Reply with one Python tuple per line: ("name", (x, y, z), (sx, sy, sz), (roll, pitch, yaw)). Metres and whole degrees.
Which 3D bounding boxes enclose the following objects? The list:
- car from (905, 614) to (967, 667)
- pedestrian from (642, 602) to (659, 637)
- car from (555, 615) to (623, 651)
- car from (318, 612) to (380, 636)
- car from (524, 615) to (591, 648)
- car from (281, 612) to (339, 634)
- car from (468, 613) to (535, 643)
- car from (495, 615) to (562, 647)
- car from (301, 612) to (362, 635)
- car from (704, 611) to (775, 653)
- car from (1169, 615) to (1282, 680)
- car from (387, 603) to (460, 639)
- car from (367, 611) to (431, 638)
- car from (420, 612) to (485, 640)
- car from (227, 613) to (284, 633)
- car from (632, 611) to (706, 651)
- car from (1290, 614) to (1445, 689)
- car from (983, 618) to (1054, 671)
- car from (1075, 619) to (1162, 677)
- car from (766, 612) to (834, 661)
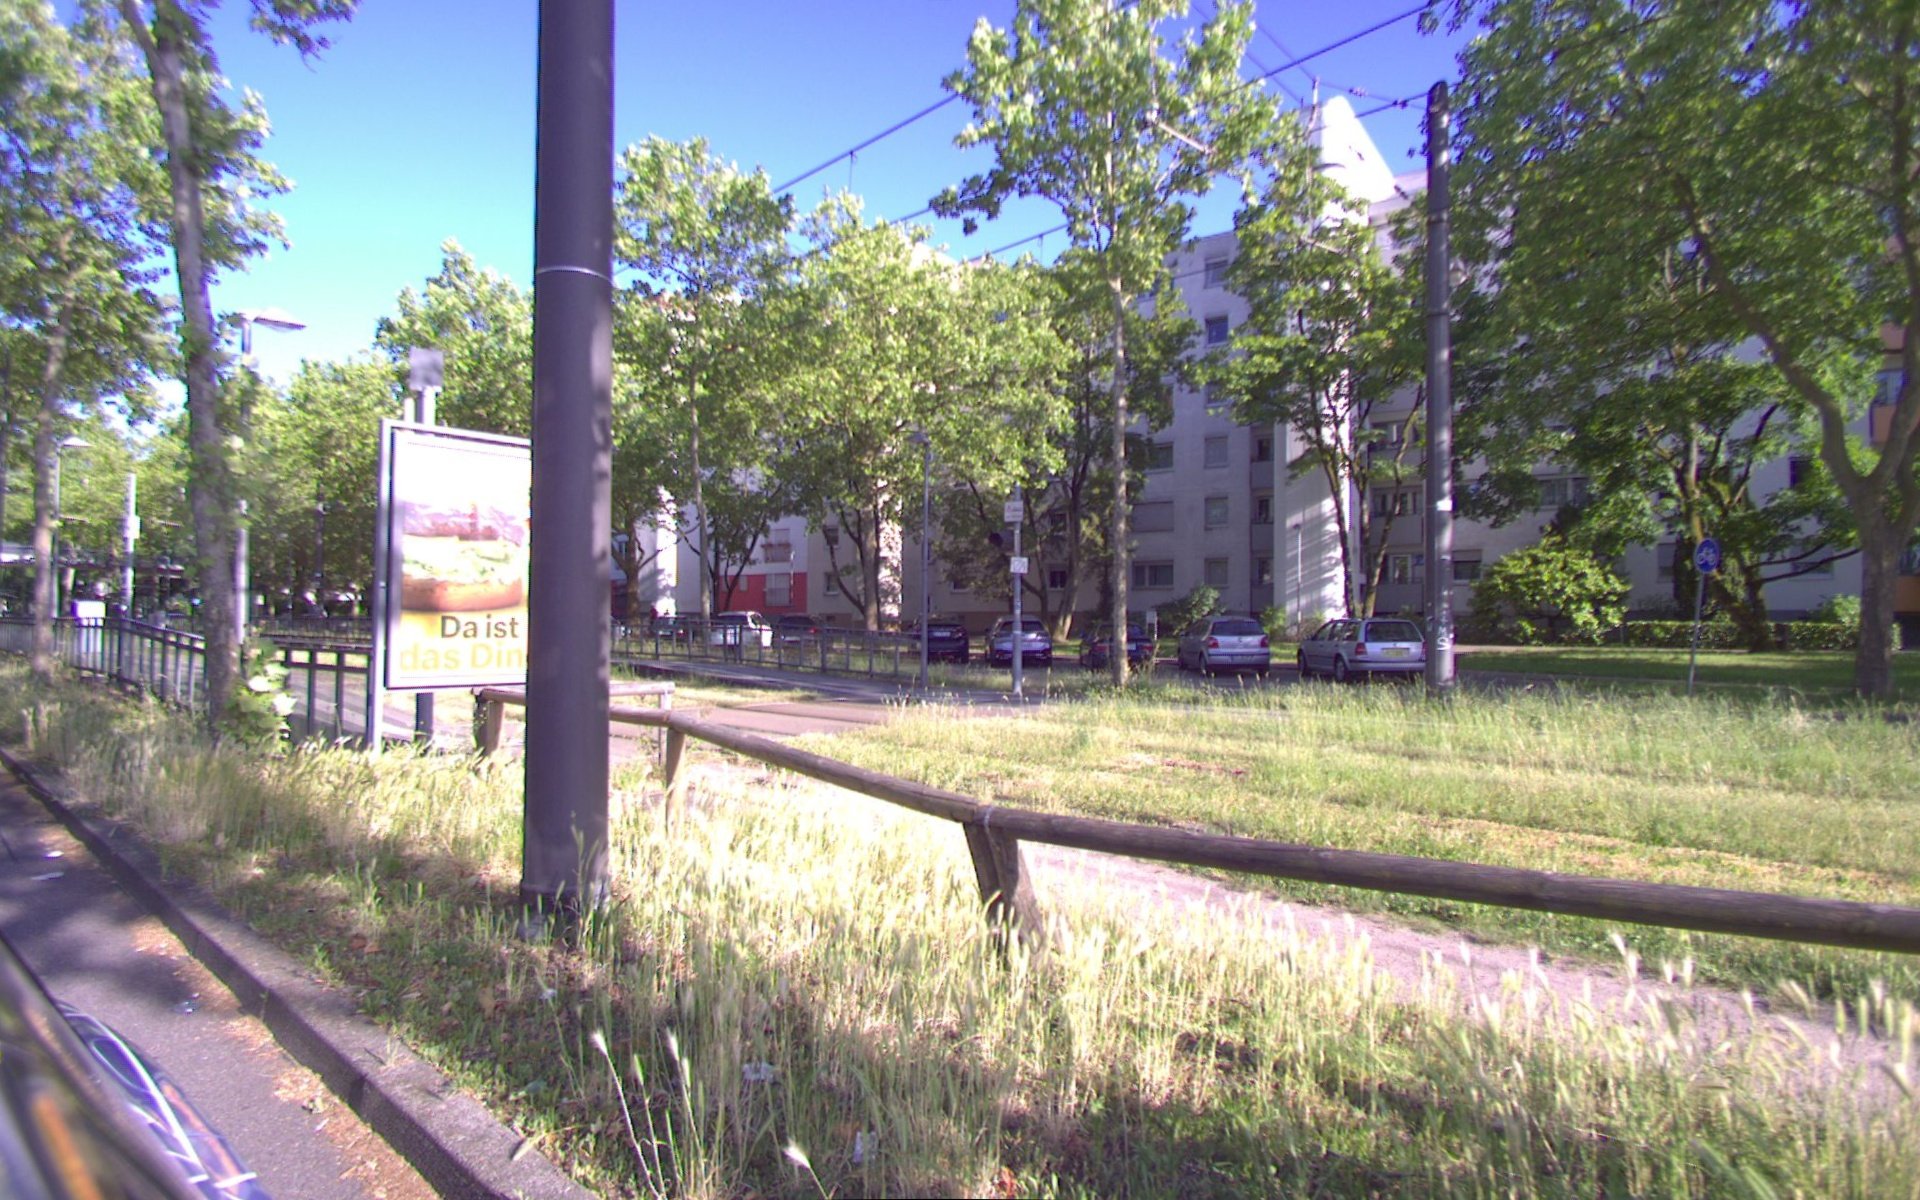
("car", (-0.693, 1.220, 31.834), (1.771, 1.510, 4.047), (-1, -1, 1))
("pedestrian", (-17.934, 1.144, 58.678), (0.644, 2.029, 0.672), (-1, -1, 38))
("car", (-16.948, 1.482, 46.429), (1.770, 1.510, 4.051), (-1, -1, -2))
("car", (-40.525, 1.547, 67.176), (1.770, 1.510, 4.051), (-1, -1, -2))
("car", (-19.528, 1.504, 49.292), (1.770, 1.510, 4.051), (-1, -1, -2))
("car", (-47.659, 1.673, 74.287), (1.770, 1.510, 4.051), (-1, -1, -2))
("car", (-24.033, 1.435, 53.176), (1.770, 1.510, 4.051), (-1, -1, -2))
("car", (-21.878, 1.539, 51.463), (1.770, 1.510, 4.051), (-1, -1, -2))
("car", (-43.054, 1.593, 69.412), (1.770, 1.510, 4.051), (-1, -1, -2))
("car", (-8.454, 1.208, 39.086), (1.771, 1.510, 4.047), (-1, -1, 1))
("car", (6.666, 1.151, 25.830), (1.739, 1.498, 4.049), (-1, -1, -1))
("car", (-31.263, 1.209, 59.116), (1.992, 1.933, 4.434), (-1, -1, -2))
("car", (-33.862, 1.464, 61.218), (1.770, 1.510, 4.051), (-1, -1, -2))
("car", (-28.790, 1.472, 57.501), (1.770, 1.510, 4.051), (-1, -1, -2))
("car", (-56.073, 1.835, 80.616), (1.770, 1.510, 4.051), (-1, -1, -2))
("car", (-11.752, 1.229, 41.183), (1.771, 1.510, 4.047), (-1, -1, 1))
("car", (9.071, 1.093, 22.906), (1.789, 1.498, 4.049), (-1, -1, 0))
("car", (1.658, 1.249, 29.807), (1.770, 1.398, 4.049), (-1, -1, 0))
("car", (4.194, 1.238, 27.395), (1.654, 1.398, 4.049), (-1, -1, -1))
("car", (-5.760, 1.285, 36.845), (1.771, 1.676, 4.047), (-1, -1, 1))
